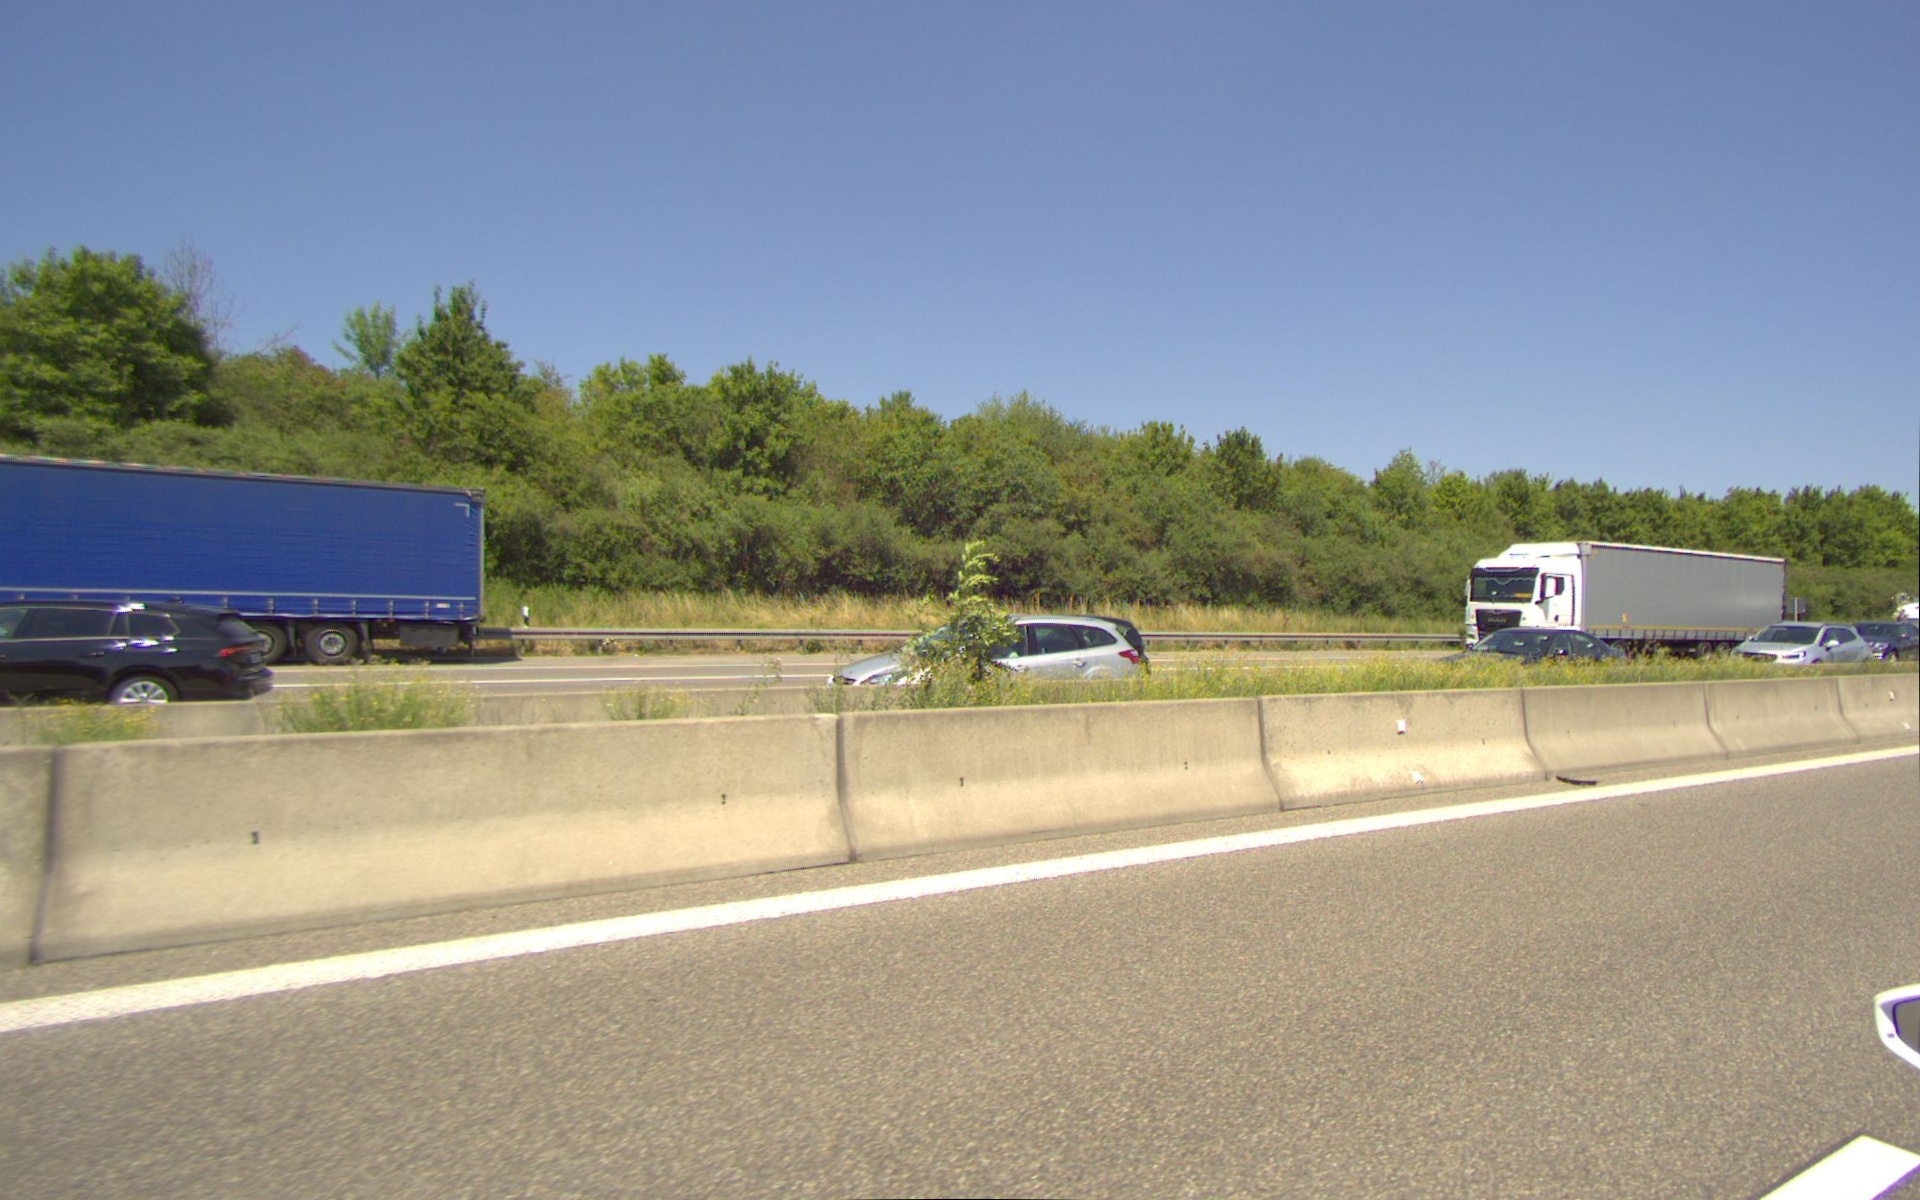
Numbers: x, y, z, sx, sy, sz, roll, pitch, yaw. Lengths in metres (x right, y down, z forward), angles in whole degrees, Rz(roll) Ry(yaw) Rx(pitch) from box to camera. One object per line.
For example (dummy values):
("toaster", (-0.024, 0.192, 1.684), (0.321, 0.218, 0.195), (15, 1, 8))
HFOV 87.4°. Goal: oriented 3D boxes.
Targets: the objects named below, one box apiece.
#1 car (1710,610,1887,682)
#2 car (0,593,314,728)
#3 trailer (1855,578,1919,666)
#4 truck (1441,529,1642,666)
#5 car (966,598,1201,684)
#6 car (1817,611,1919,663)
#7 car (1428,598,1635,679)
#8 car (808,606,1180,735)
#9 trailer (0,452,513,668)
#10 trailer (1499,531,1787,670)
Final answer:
("car", (21.433, 1.150, 25.660), (4.382, 1.699, 1.836), (1, -1, -26))
("car", (-10.542, 0.669, 11.897), (4.567, 1.469, 1.873), (1, -1, -24))
("trailer", (39.715, 0.960, 40.155), (10.608, 3.226, 2.854), (2, 0, -31))
("truck", (19.504, -0.028, 33.644), (6.109, 4.187, 3.185), (1, -1, -30))
("car", (2.457, 0.789, 19.949), (4.251, 1.540, 1.987), (1, -1, -27))
("car", (33.191, 1.324, 36.215), (4.875, 1.746, 2.096), (2, -1, -31))
("car", (12.070, 0.789, 21.157), (4.259, 1.540, 1.983), (2, -1, -31))
("car", (0.532, 0.860, 13.590), (4.738, 1.464, 1.983), (1, 0, -31))
("trailer", (-17.253, -0.748, 20.907), (14.318, 4.024, 3.066), (1, 1, -30))
("trailer", (25.604, 0.155, 37.237), (13.614, 4.480, 3.207), (1, -1, -30))
